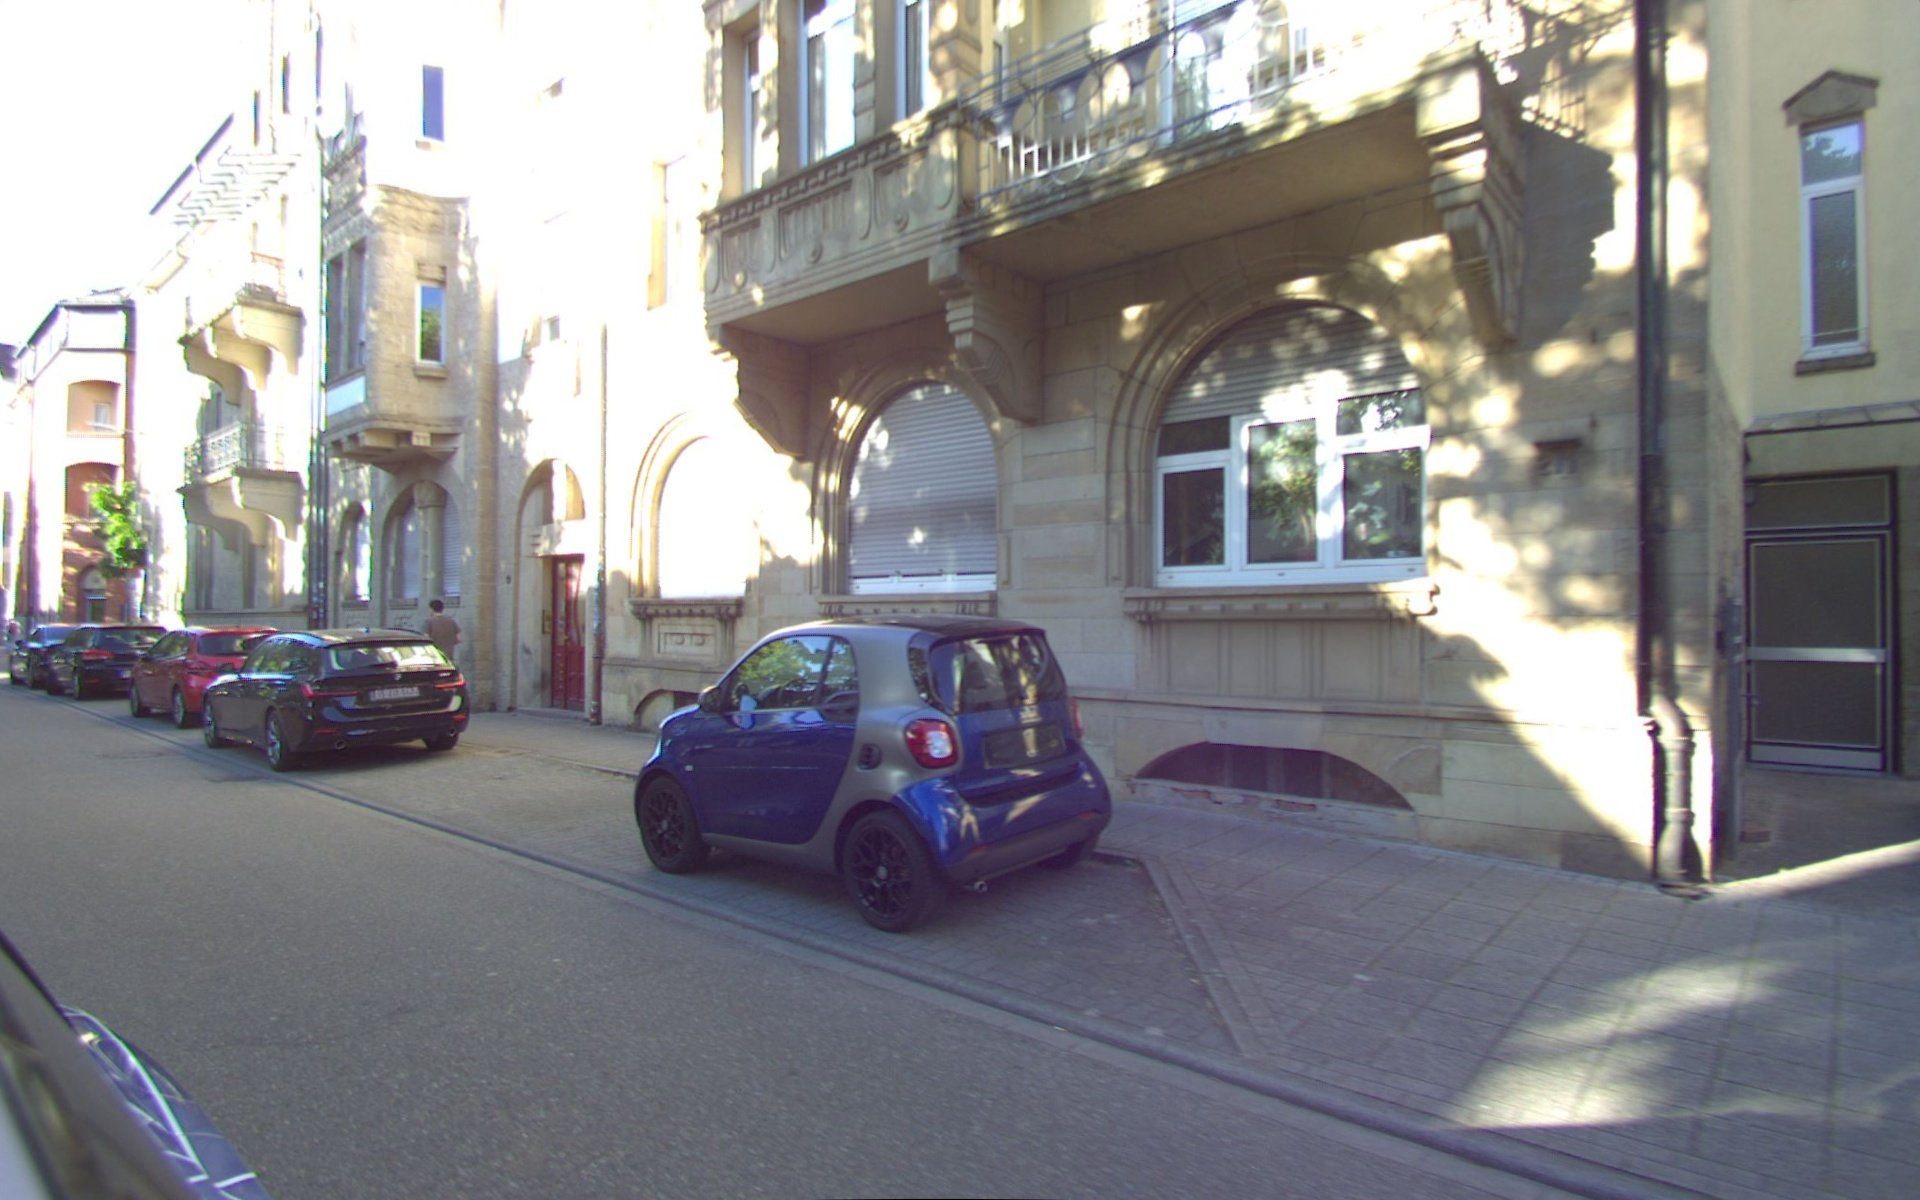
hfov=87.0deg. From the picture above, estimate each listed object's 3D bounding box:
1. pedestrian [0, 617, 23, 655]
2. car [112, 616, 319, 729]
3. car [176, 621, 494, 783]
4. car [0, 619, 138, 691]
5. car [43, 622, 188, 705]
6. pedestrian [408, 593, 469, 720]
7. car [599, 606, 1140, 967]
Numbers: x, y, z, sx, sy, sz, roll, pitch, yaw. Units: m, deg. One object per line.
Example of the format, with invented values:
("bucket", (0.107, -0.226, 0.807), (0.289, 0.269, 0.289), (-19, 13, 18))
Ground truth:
("pedestrian", (-42.763, 1.615, 45.531), (1.009, 1.715, 0.769), (-1, -2, 41))
("car", (-11.745, 1.043, 15.896), (3.769, 1.477, 1.673), (-1, 2, 39))
("car", (-7.474, 1.022, 11.911), (4.539, 1.449, 1.881), (-1, 2, 41))
("car", (-21.431, 1.261, 24.178), (4.506, 1.468, 1.870), (-2, 2, 39))
("car", (-17.146, 1.206, 20.486), (3.997, 1.477, 1.724), (-1, 0, 42))
("pedestrian", (-7.861, 0.829, 15.258), (0.497, 1.861, 0.685), (-1, -1, 42))
("car", (-0.622, 0.848, 6.030), (2.860, 1.520, 1.666), (-1, 1, 41))
